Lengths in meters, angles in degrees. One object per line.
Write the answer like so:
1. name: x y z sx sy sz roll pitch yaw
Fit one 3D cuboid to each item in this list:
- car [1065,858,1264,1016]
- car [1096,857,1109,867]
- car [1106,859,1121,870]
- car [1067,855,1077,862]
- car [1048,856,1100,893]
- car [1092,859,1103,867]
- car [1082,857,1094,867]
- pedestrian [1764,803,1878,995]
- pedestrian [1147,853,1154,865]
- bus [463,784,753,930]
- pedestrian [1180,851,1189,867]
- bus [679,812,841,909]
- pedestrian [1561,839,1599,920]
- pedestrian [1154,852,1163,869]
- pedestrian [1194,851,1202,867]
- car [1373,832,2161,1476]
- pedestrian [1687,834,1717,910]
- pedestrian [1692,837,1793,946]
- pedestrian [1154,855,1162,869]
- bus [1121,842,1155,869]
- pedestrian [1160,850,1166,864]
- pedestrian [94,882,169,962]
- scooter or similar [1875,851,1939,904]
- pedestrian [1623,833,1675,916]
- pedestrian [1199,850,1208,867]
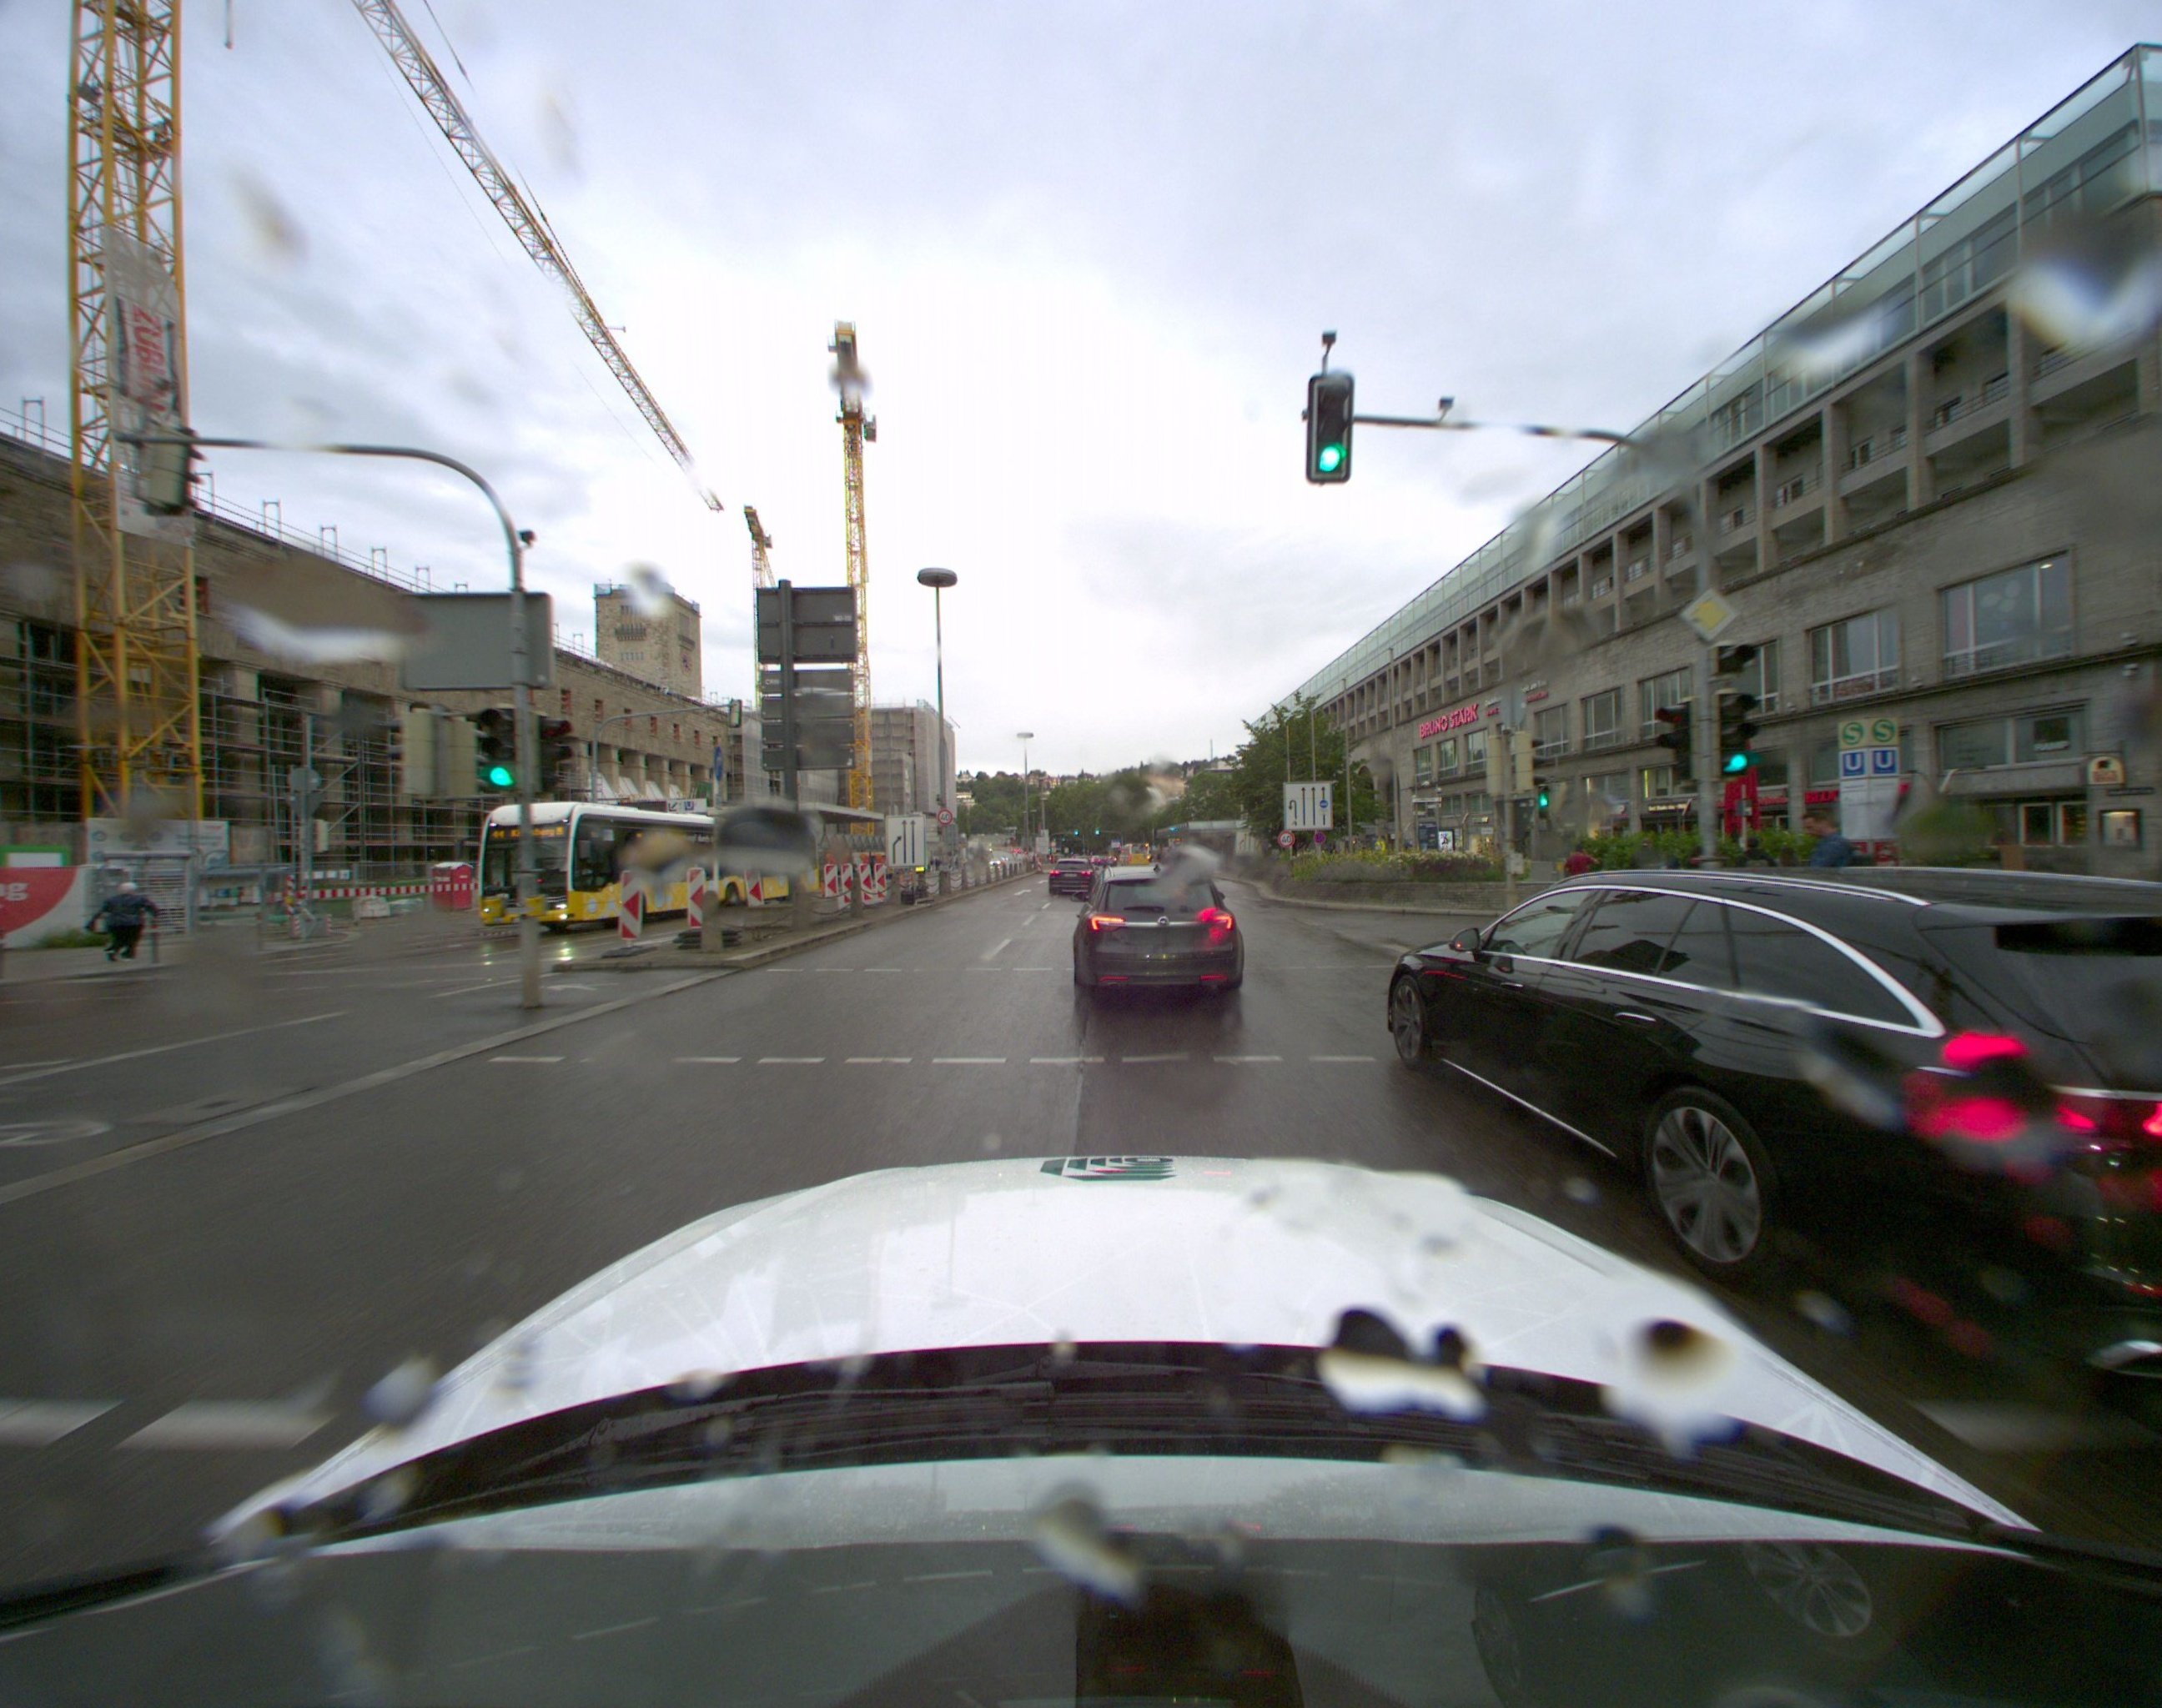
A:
1. car: 0.845 0.814 9.685 1.867 1.486 4.001 0 -1 2
2. car: 3.088 1.144 119.895 1.748 1.398 4.647 0 -1 0
3. car: 4.027 1.282 99.971 1.838 1.398 3.668 0 -1 2
4. car: -1.852 0.973 163.069 1.752 1.398 3.565 0 -1 2
5. car: -0.232 0.851 34.473 1.847 1.469 4.591 0 -1 4
6. car: 2.998 1.550 147.163 1.838 1.398 3.566 0 0 2
7. car: 1.085 1.234 125.414 1.838 1.398 3.565 0 -1 2
8. pedestrian: 7.189 0.419 7.920 0.507 1.756 0.770 1 -2 -45
9. pedestrian: 12.535 0.969 146.011 1.193 2.149 1.229 0 -1 3
10. bus: -13.789 0.159 25.304 2.658 3.602 10.243 0 -1 2
11. pedestrian: 10.888 0.510 85.669 0.761 1.690 0.824 0 -1 -2
12. bus: -13.501 0.337 35.537 2.658 3.602 10.216 0 -1 2
13. pedestrian: 11.107 0.567 18.120 0.563 1.752 0.684 -1 -2 45
14. pedestrian: 11.093 0.893 116.965 1.193 2.435 1.229 0 -1 3
15. pedestrian: 12.256 0.502 85.268 0.761 1.690 0.824 0 -1 -2
16. car: 3.166 0.739 4.217 1.786 1.502 4.630 0 -1 2
17. pedestrian: 12.722 0.367 16.694 0.460 1.517 0.453 -1 -2 36
18. pedestrian: 11.258 0.622 13.886 1.093 1.751 0.653 -3 -1 -1
19. pedestrian: 12.278 1.264 130.116 1.193 2.149 1.229 0 -1 3
20. bus: 7.612 0.359 110.840 4.157 3.469 14.660 0 -1 2
21. pedestrian: 10.084 0.410 100.365 0.655 1.690 0.609 0 -1 2
22. pedestrian: -19.281 1.356 16.560 0.790 1.561 0.865 1 -2 -36
23. scooter or similar: 19.190 0.545 18.936 0.290 1.189 1.014 0 -1 -16
24. pedestrian: 11.992 0.433 17.192 0.753 1.718 0.466 0 -1 -2
25. pedestrian: 12.608 0.481 84.070 0.761 1.690 0.824 0 -1 -2
